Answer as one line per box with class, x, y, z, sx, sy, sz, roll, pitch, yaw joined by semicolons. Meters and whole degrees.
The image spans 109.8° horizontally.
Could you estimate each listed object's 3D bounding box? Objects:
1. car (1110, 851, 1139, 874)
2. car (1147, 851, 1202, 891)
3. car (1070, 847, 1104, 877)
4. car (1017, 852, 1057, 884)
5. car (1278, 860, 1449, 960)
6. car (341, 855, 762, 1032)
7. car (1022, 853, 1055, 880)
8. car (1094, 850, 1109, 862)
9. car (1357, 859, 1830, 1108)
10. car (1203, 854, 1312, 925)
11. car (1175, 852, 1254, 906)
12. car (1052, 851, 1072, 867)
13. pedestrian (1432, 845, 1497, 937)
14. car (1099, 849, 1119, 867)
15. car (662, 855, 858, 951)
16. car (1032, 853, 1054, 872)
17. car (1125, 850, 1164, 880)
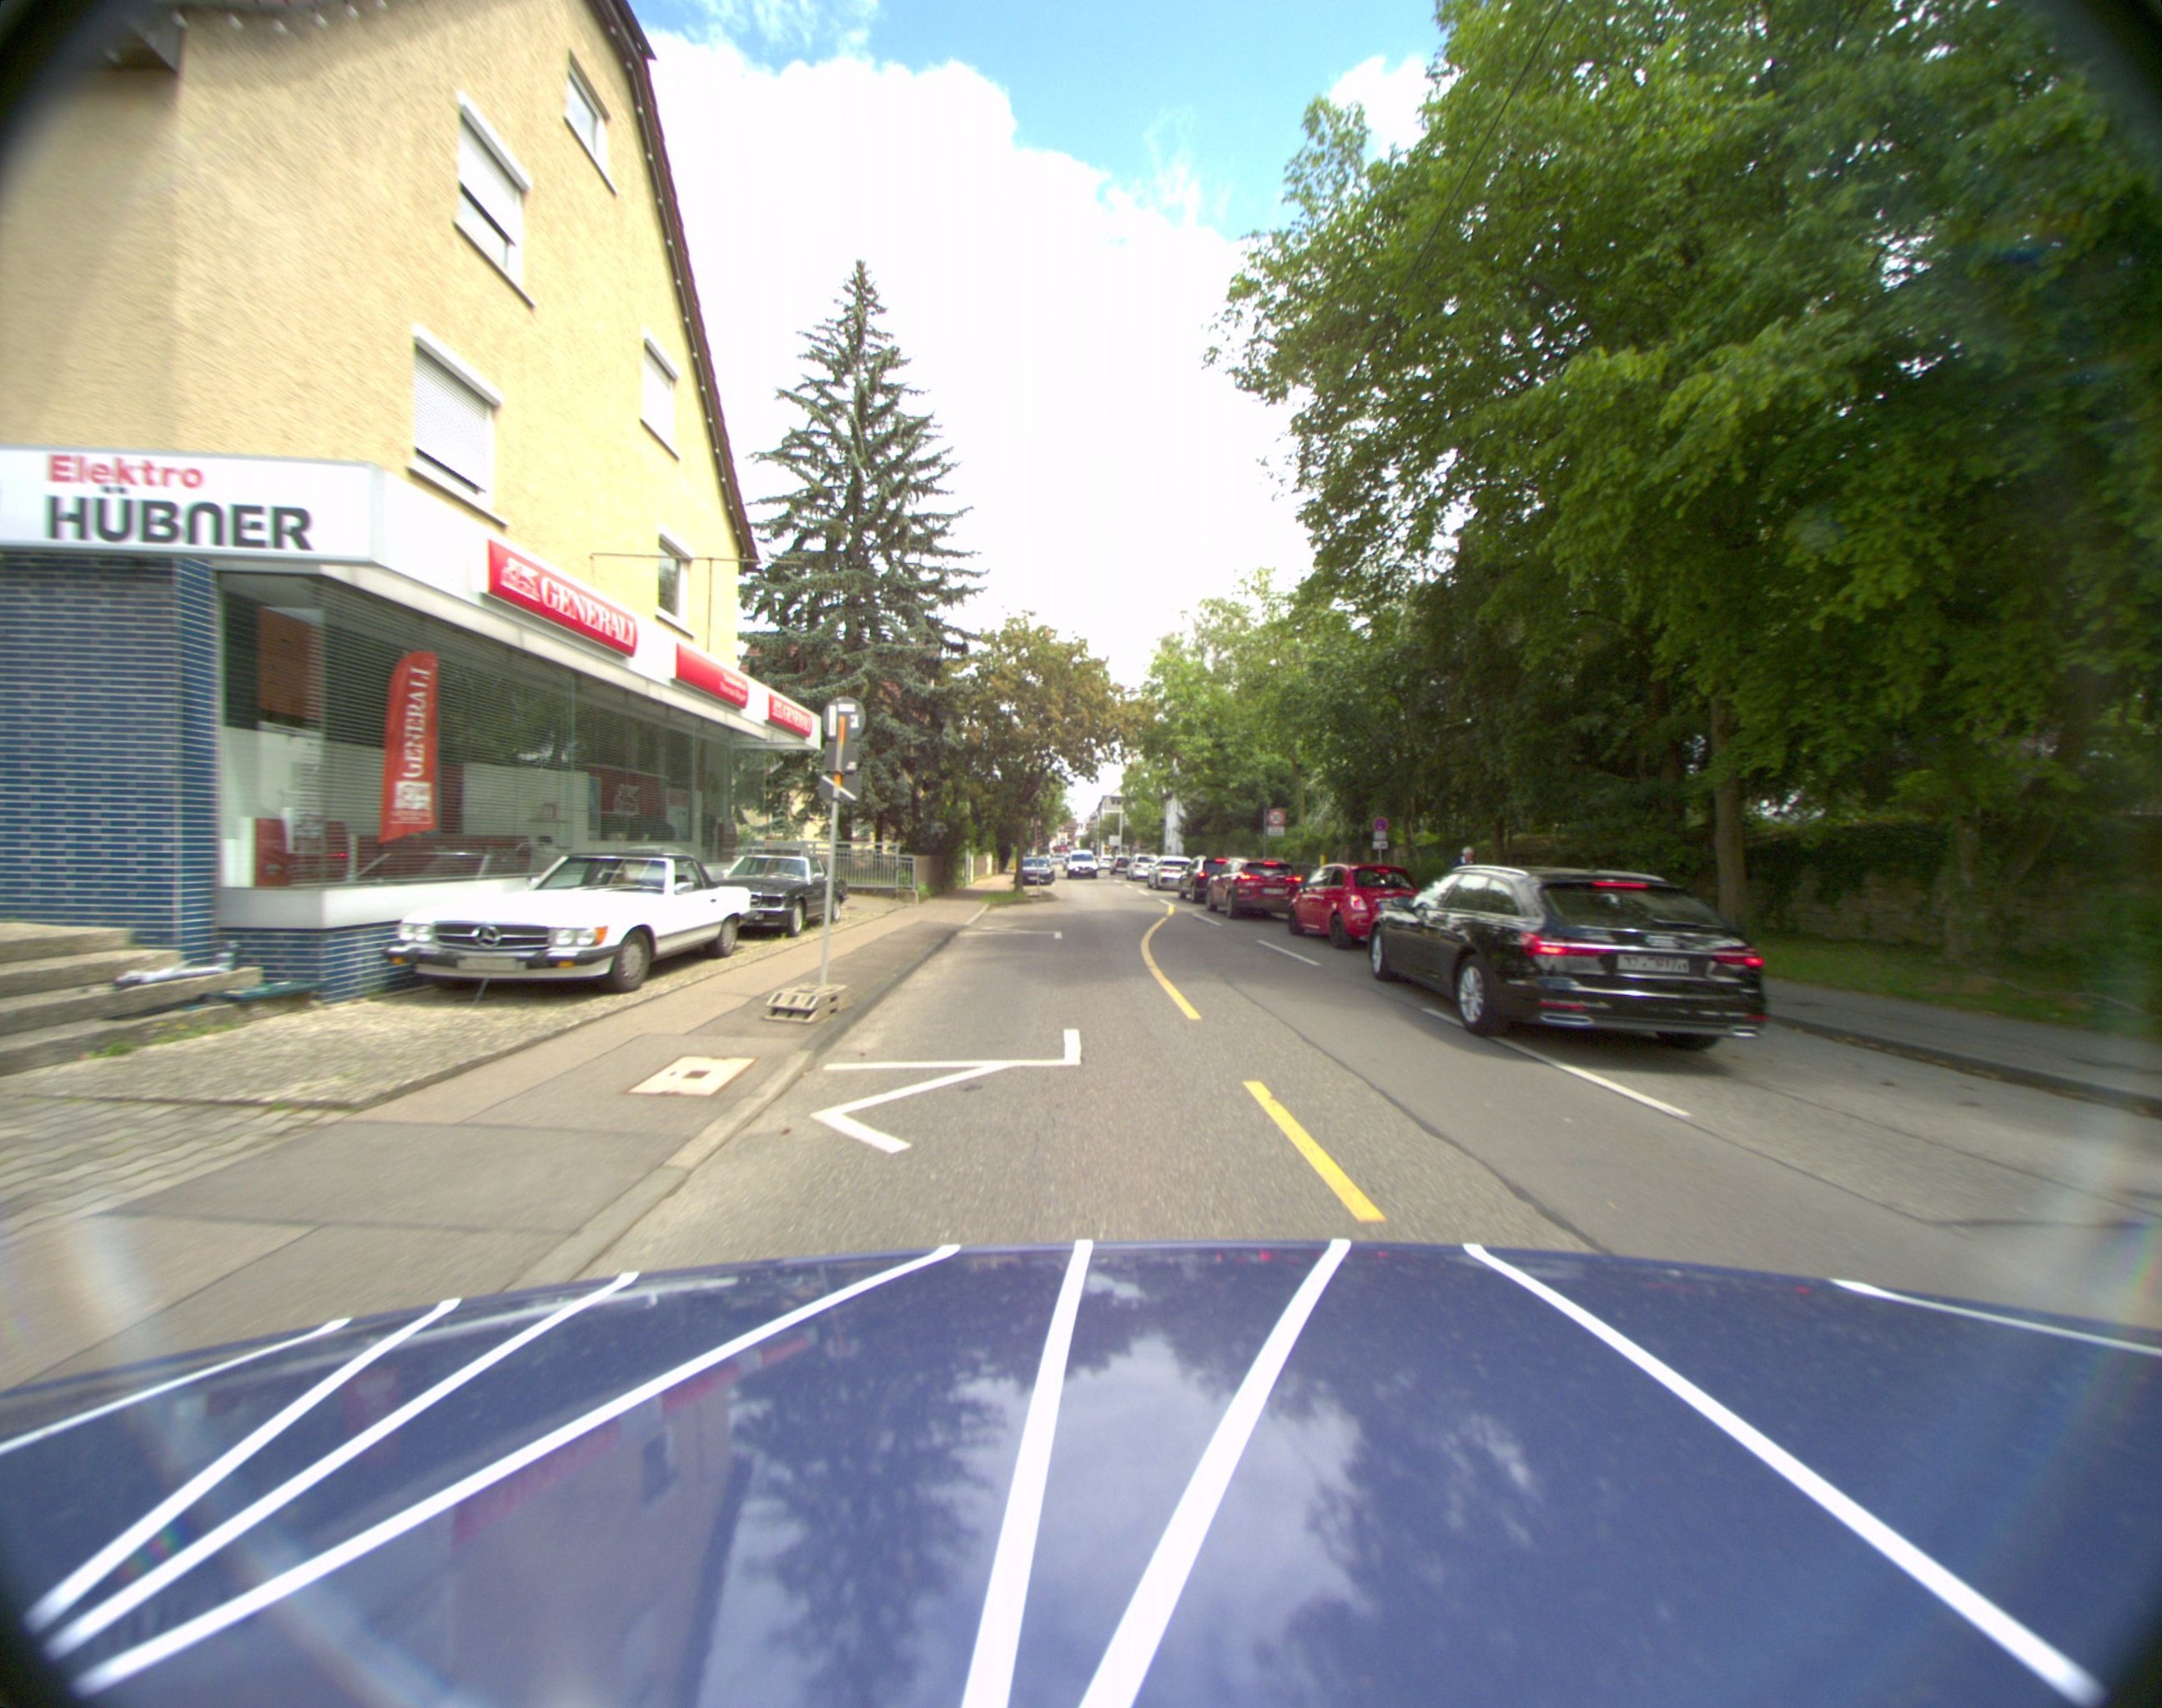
car;3.379;0.616;60.078;1.762;1.581;4.160;3;1;-3
car;4.219;0.740;34.803;1.762;1.581;4.002;3;1;-3
car;0.329;0.466;48.640;1.966;1.796;4.427;-1;1;-2
car;-2.263;0.689;39.603;1.939;1.483;4.021;-1;1;-3
car;5.054;0.922;14.125;1.619;1.514;3.568;2;0;-3
car;-5.195;0.740;8.362;1.790;1.309;4.478;2;1;-5
car;-2.460;0.701;44.348;1.767;1.483;3.859;-1;1;-3
car;2.442;0.222;91.339;1.541;1.368;4.160;3;1;-3
car;4.283;0.889;7.442;1.822;1.514;4.562;2;1;5
car;4.488;0.840;19.968;1.781;1.547;4.000;3;1;-1
car;4.436;0.793;25.747;1.762;1.581;3.968;1;1;-3
car;-1.870;0.462;73.642;1.767;1.483;3.577;-1;1;-3
pedestrian;7.962;0.744;15.820;0.835;1.837;1.021;0;2;1
car;2.785;0.353;75.794;1.619;1.581;4.160;3;1;-3
car;-5.350;0.732;13.318;1.790;1.276;4.314;2;1;-3
car;-3.264;0.738;65.258;1.767;1.483;3.577;-1;1;-3
car;3.839;0.625;46.417;1.762;1.581;4.160;3;1;-3
